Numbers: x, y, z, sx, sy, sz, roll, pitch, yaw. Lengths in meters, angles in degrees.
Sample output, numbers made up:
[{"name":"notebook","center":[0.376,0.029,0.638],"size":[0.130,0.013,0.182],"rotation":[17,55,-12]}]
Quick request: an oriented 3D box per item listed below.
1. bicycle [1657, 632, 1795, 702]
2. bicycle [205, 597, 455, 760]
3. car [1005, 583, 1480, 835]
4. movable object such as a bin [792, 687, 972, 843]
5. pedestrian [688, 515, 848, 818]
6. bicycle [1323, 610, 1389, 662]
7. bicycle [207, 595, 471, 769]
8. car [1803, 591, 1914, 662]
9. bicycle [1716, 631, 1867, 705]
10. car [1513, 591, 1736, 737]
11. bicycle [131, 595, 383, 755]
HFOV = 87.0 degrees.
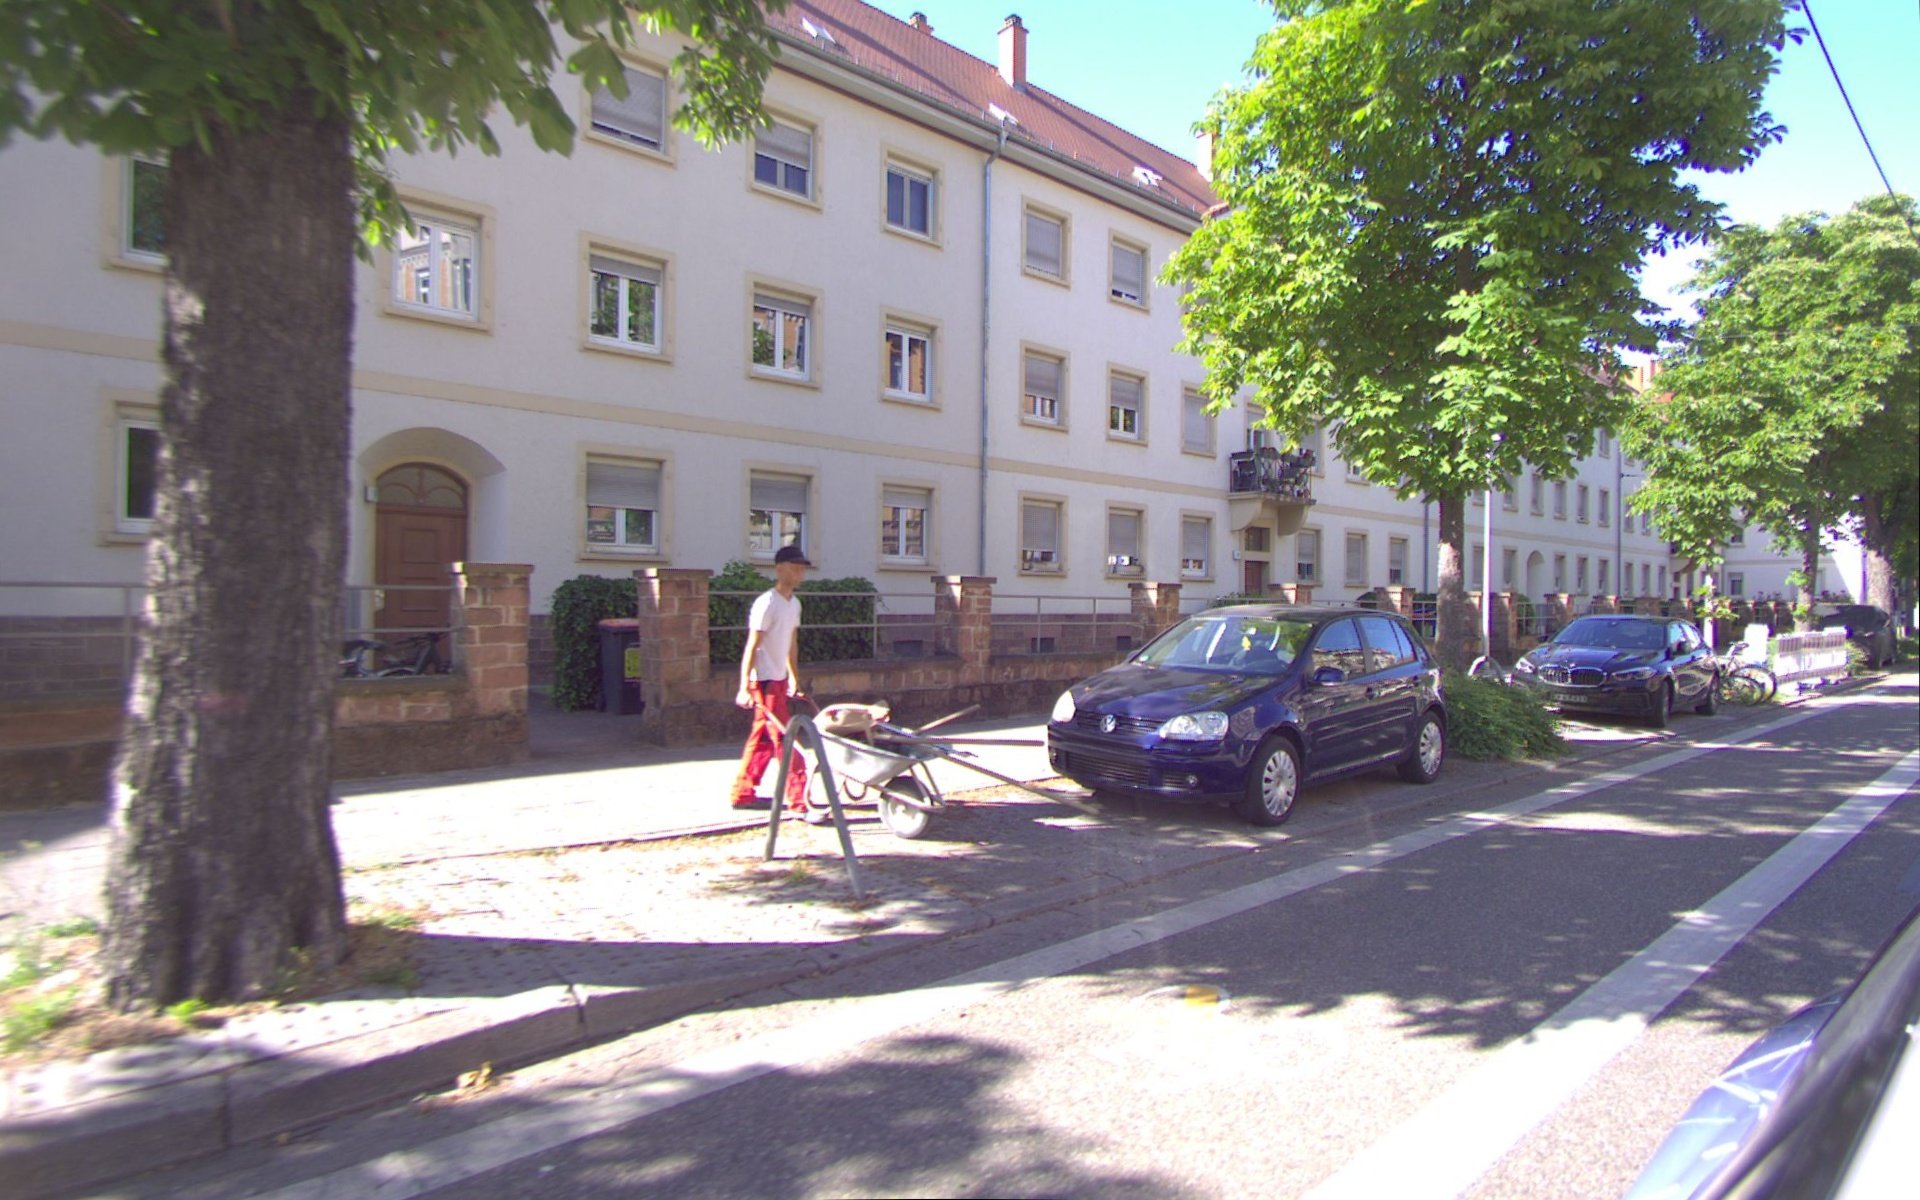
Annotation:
[{"name":"bicycle","center":[12.777,1.087,16.935],"size":[0.426,1.092,1.765],"rotation":[1,-2,-39]},{"name":"bicycle","center":[-5.248,0.602,8.502],"size":[1.711,1.236,0.544],"rotation":[0,1,-41]},{"name":"car","center":[2.447,0.652,8.130],"size":[4.173,1.492,1.722],"rotation":[0,1,-42]},{"name":"movable object such as a bin","center":[-0.473,0.991,6.288],"size":[0.912,0.752,0.663],"rotation":[3,2,19]},{"name":"pedestrian","center":[-1.215,0.379,6.537],"size":[0.593,1.792,0.908],"rotation":[3,1,19]},{"name":"bicycle","center":[8.694,0.767,22.164],"size":[1.839,1.066,0.560],"rotation":[0,0,-41]},{"name":"bicycle","center":[-4.881,0.590,8.034],"size":[1.711,1.236,0.544],"rotation":[0,1,-41]},{"name":"car","center":[24.469,0.694,27.517],"size":[4.400,1.789,1.746],"rotation":[0,-2,-42]},{"name":"bicycle","center":[13.030,1.044,15.911],"size":[0.426,1.092,1.765],"rotation":[1,-2,-39]},{"name":"car","center":[9.532,0.785,14.388],"size":[4.158,1.783,1.668],"rotation":[0,0,-42]},{"name":"bicycle","center":[-5.972,0.589,8.660],"size":[1.711,1.236,0.544],"rotation":[0,1,-41]}]
